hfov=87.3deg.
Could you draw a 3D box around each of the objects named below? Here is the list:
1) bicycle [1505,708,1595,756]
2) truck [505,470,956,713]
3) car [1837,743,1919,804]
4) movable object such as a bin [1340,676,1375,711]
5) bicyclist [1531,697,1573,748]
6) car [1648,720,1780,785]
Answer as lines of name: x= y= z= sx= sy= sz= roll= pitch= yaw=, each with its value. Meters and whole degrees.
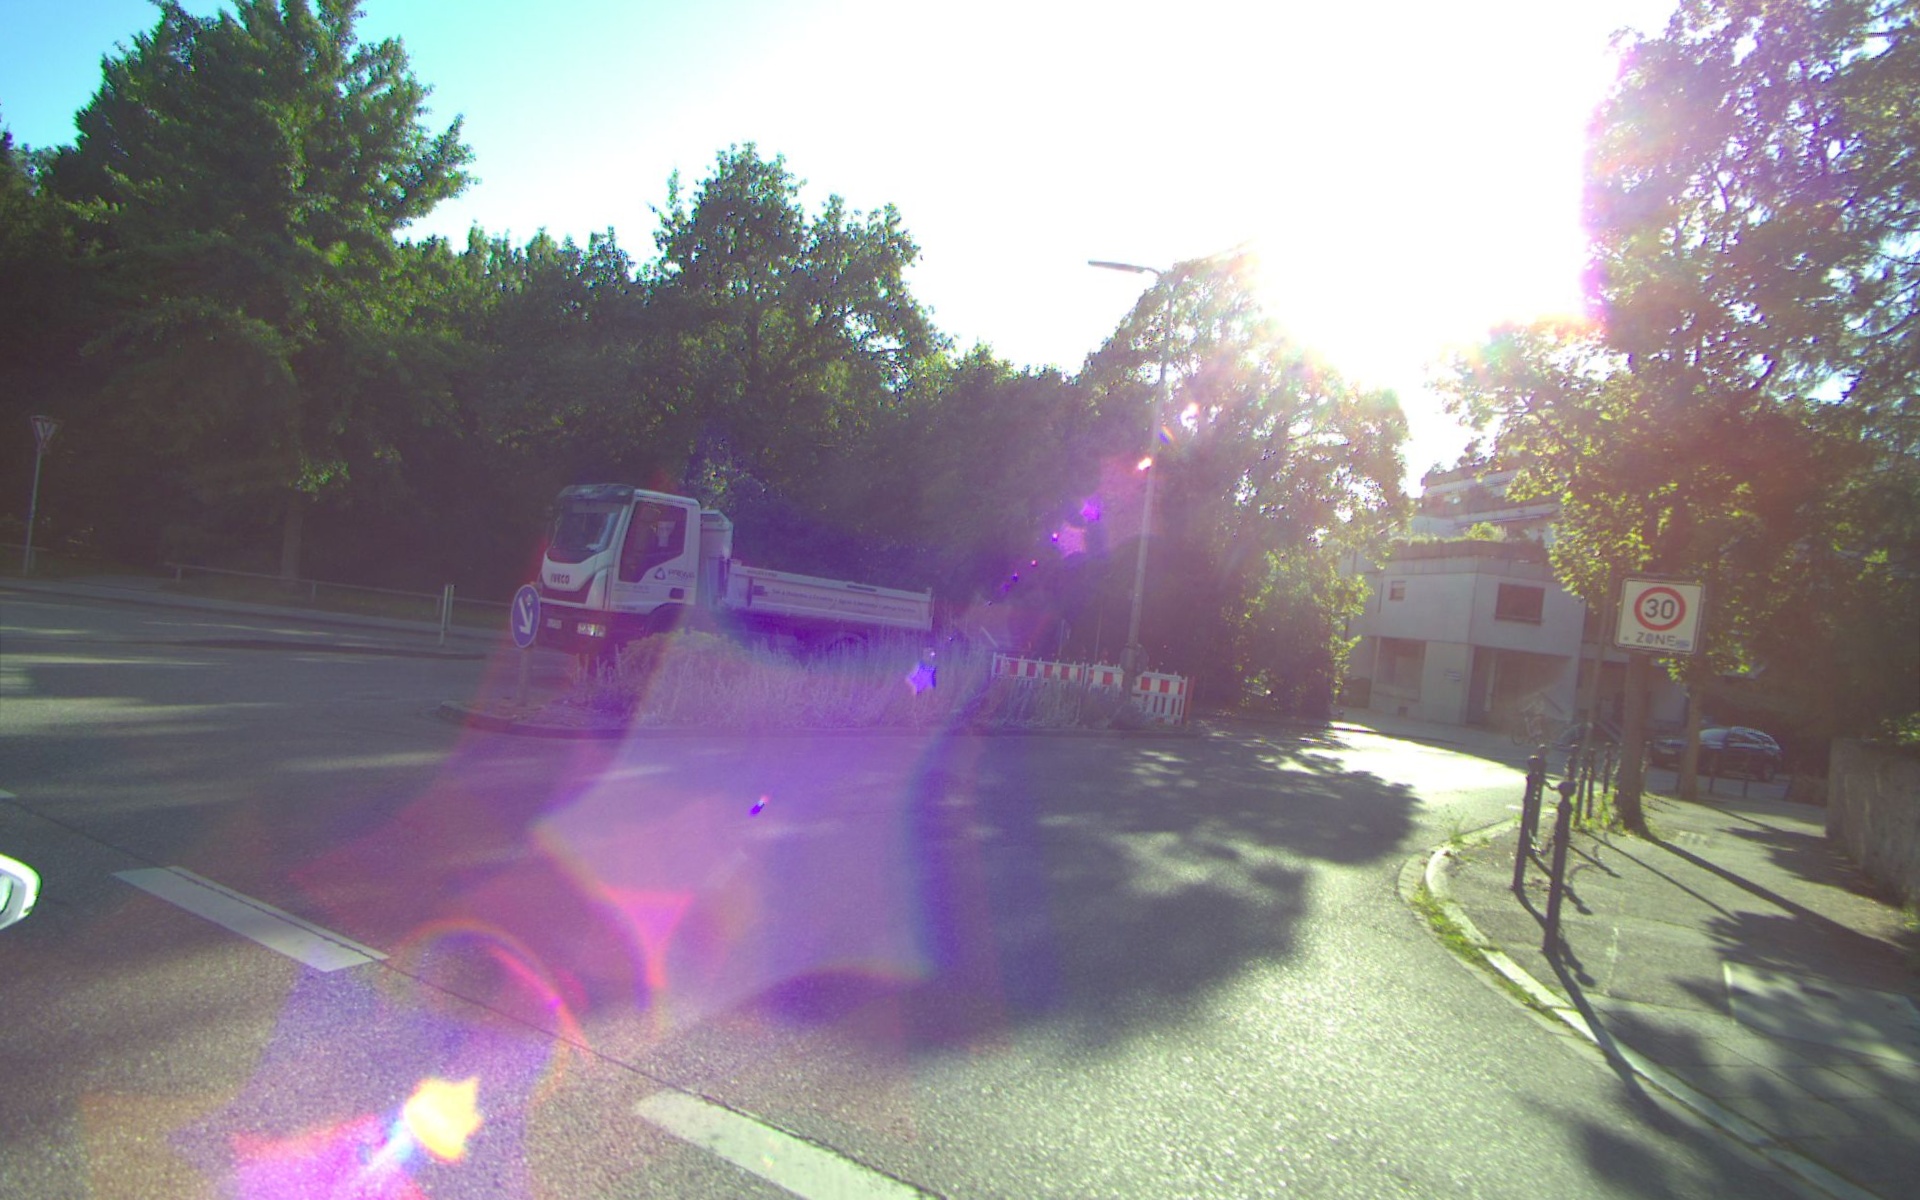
bicycle: x=19.643 y=4.394 z=33.488 sx=2.801 sy=1.223 sz=0.759 roll=8 pitch=4 yaw=-19
truck: x=-3.397 y=0.062 z=16.288 sx=6.572 sy=2.928 sz=2.403 roll=9 pitch=-2 yaw=-44
car: x=30.087 y=5.602 z=32.029 sx=3.867 sy=1.541 sz=1.827 roll=8 pitch=-1 yaw=-26
movable object such as a bin: x=18.657 y=4.357 z=47.196 sx=1.075 sy=1.485 sz=1.082 roll=5 pitch=-1 yaw=-1
bicyclist: x=19.672 y=4.074 z=33.459 sx=0.635 sy=1.505 sz=0.756 roll=7 pitch=4 yaw=-19
car: x=24.953 y=5.046 z=33.274 sx=3.975 sy=1.603 sz=1.826 roll=8 pitch=-1 yaw=-27
